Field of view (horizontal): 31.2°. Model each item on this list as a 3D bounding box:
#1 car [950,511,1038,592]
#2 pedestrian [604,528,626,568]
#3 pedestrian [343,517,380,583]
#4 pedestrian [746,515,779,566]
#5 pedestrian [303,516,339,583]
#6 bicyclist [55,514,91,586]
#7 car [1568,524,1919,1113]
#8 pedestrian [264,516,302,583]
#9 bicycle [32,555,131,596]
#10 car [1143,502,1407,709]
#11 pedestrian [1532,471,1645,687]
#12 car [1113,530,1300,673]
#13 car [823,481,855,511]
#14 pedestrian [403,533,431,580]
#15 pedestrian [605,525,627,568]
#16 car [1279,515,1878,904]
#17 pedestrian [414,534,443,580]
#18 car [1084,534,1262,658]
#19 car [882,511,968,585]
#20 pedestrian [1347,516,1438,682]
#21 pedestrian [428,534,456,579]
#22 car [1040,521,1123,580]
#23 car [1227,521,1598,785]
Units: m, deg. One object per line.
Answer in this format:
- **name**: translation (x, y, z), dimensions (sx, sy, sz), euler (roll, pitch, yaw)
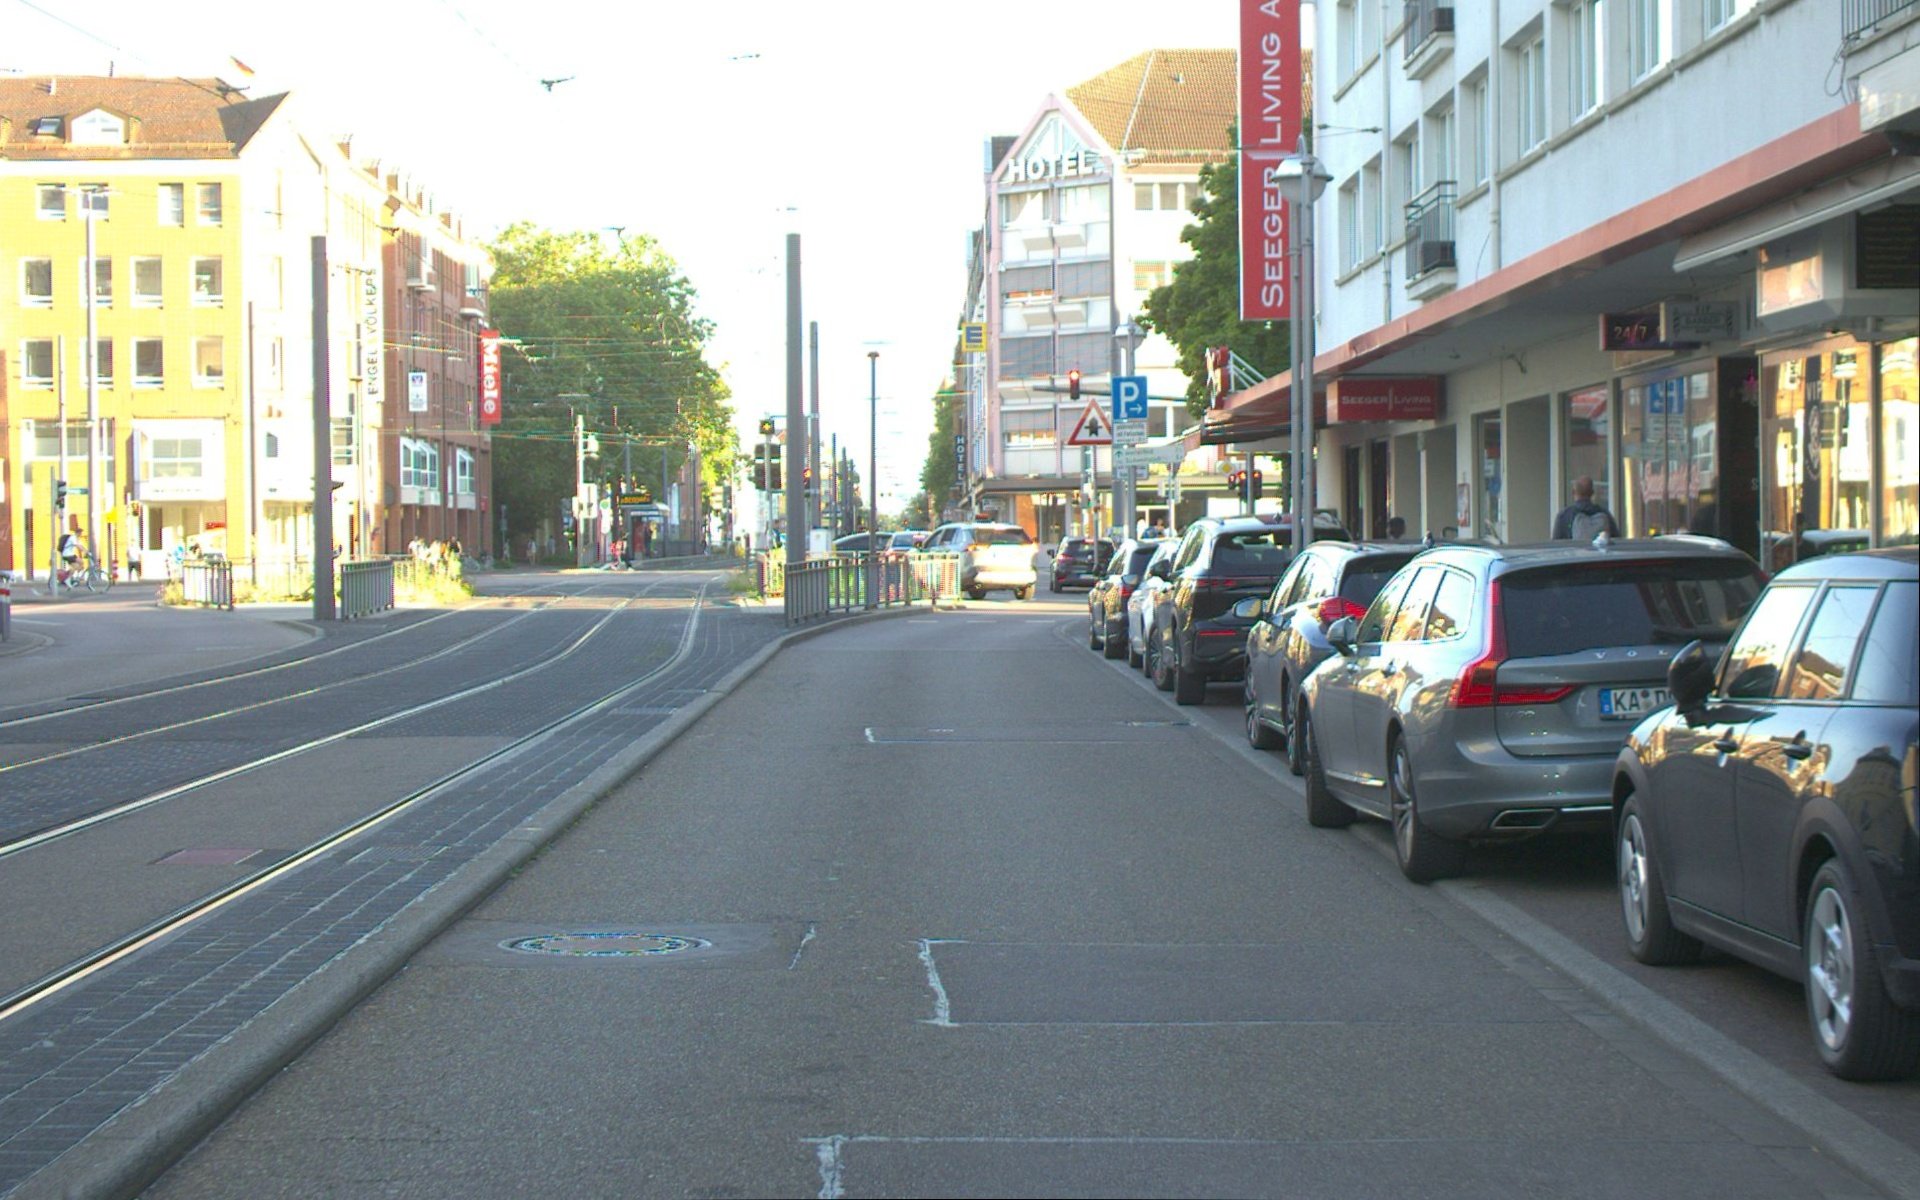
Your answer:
- **car**: translation (0.741, -1.031, 75.156), dimensions (1.835, 1.630, 4.090), euler (-2, 0, 0)
- **pedestrian**: translation (-14.523, -2.172, 144.671), dimensions (0.805, 1.658, 0.703), euler (1, 1, 3)
- **pedestrian**: translation (-12.431, -1.043, 71.425), dimensions (0.663, 1.370, 0.652), euler (-1, 1, -3)
- **pedestrian**: translation (-5.402, -1.633, 94.040), dimensions (0.903, 1.370, 0.854), euler (-1, 1, -3)
- **pedestrian**: translation (-13.207, -1.043, 71.051), dimensions (0.663, 1.370, 0.652), euler (0, 1, -3)
- **bicyclist**: translation (-24.918, -1.400, 96.539), dimensions (0.860, 2.007, 0.647), euler (1, 1, -21)
- **car**: translation (3.139, 0.542, 10.640), dimensions (1.726, 1.476, 4.000), euler (1, 1, -1)
- **pedestrian**: translation (-13.964, -1.049, 70.924), dimensions (0.663, 1.370, 0.652), euler (0, 1, -3)
- **bicycle**: translation (-24.700, -0.697, 96.630), dimensions (2.639, 1.096, 0.435), euler (1, 1, -20)
- **car**: translation (2.758, 0.021, 31.044), dimensions (1.856, 1.695, 4.418), euler (1, 1, -1)
- **pedestrian**: translation (5.574, -0.188, 30.526), dimensions (0.774, 1.874, 0.935), euler (-1, 1, -2)
- **car**: translation (2.612, -0.011, 37.220), dimensions (1.651, 1.416, 4.191), euler (1, 1, -1)
- **car**: translation (-8.200, -7.076, 233.630), dimensions (1.993, 1.894, 4.000), euler (1, 1, 0)
- **pedestrian**: translation (-23.572, -1.897, 149.248), dimensions (1.093, 2.007, 0.909), euler (1, 1, -3)
- **pedestrian**: translation (-14.549, -2.271, 145.499), dimensions (0.805, 1.816, 0.703), euler (1, 1, 2)
- **car**: translation (2.722, 0.412, 16.298), dimensions (1.791, 1.528, 4.857), euler (1, 1, -2)
- **pedestrian**: translation (-23.303, -1.874, 150.738), dimensions (1.093, 2.007, 0.909), euler (1, 1, -3)
- **car**: translation (2.565, -0.078, 42.364), dimensions (1.790, 1.408, 4.688), euler (1, 1, -1)
- **car**: translation (-0.878, -1.280, 86.047), dimensions (1.993, 1.590, 4.000), euler (-4, -1, 0)
- **pedestrian**: translation (4.148, -0.020, 33.041), dimensions (0.733, 1.568, 0.967), euler (0, 1, -1)
- **pedestrian**: translation (-23.295, -1.949, 154.630), dimensions (1.093, 2.007, 1.163), euler (1, 1, -3)
- **car**: translation (3.044, -1.262, 86.722), dimensions (1.764, 1.435, 4.001), euler (0, 1, -3)
- **car**: translation (2.848, 0.265, 22.543), dimensions (1.781, 1.517, 4.357), euler (1, 1, -1)
